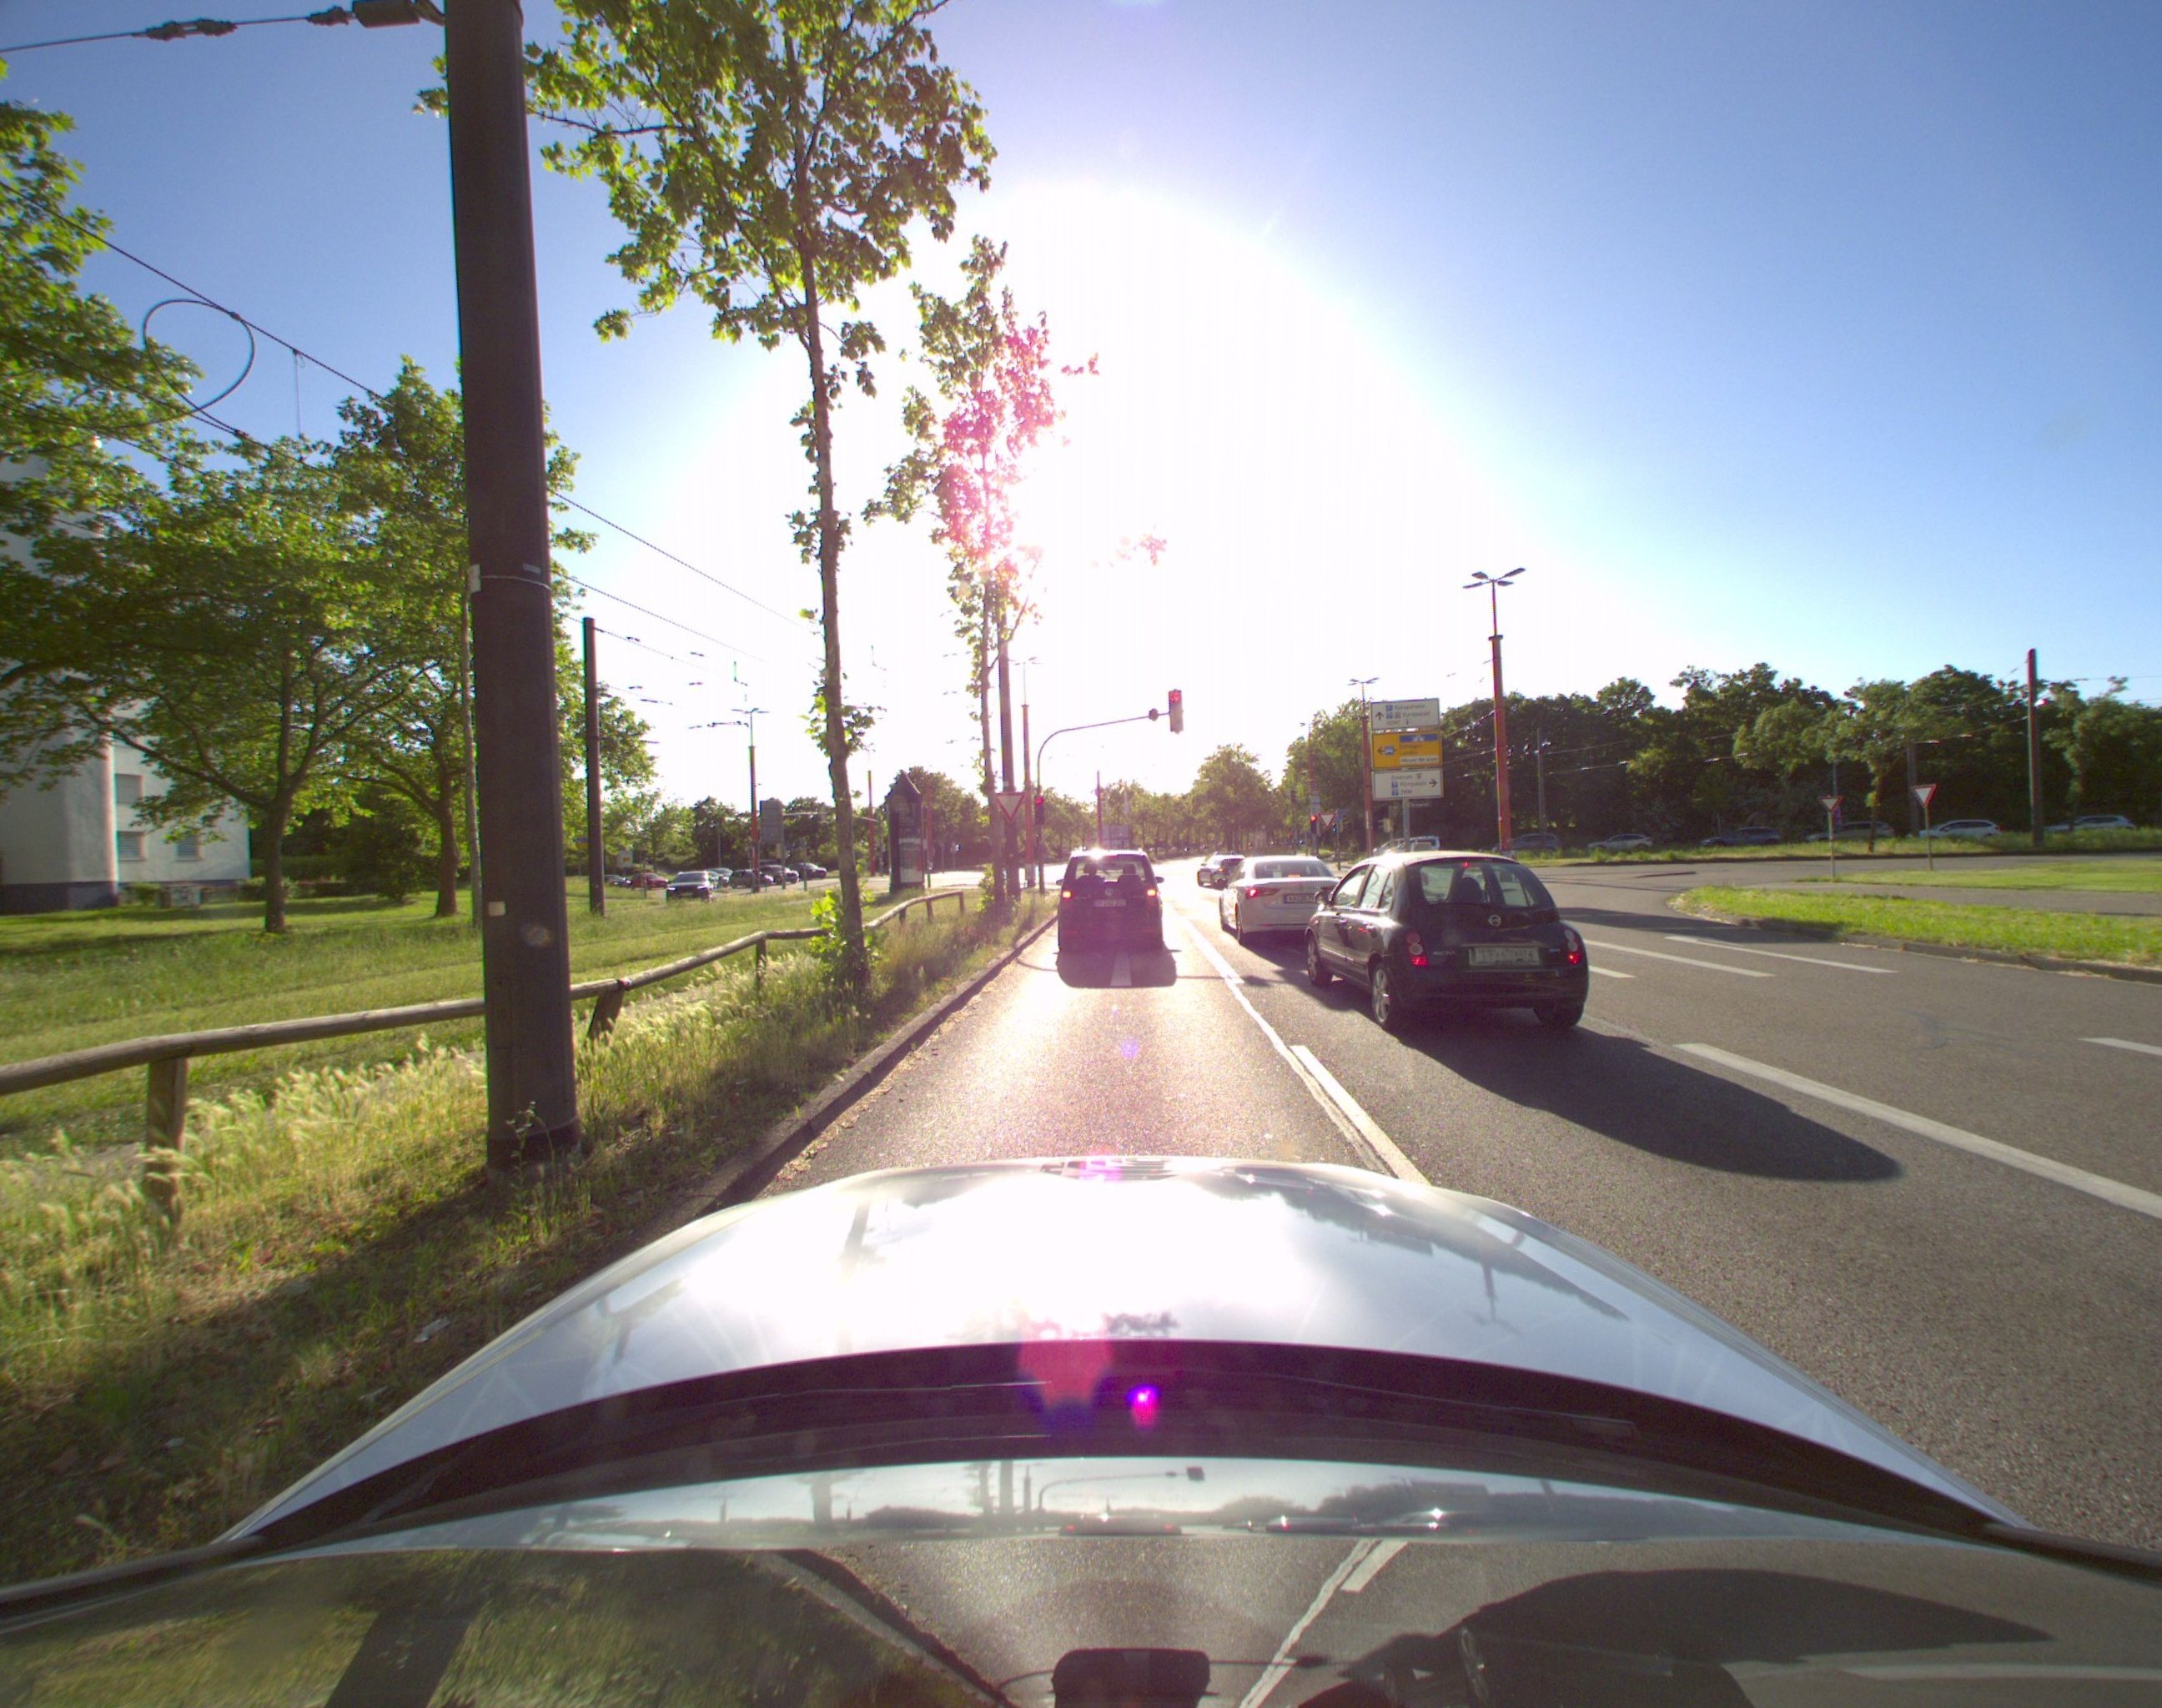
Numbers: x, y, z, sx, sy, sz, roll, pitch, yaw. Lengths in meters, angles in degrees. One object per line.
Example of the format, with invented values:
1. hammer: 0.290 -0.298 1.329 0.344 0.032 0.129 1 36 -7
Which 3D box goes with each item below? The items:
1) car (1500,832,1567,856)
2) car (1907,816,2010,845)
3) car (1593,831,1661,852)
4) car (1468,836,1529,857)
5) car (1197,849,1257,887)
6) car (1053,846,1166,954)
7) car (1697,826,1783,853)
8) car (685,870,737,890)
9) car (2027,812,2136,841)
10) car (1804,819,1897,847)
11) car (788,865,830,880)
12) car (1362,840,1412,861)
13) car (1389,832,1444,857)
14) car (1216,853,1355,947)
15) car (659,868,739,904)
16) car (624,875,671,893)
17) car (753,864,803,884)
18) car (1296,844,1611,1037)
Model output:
1. car: 32.671 -0.677 58.850 4.139 1.644 1.770 -1 -1 29
2. car: 51.860 -1.349 48.244 3.782 1.523 1.706 -2 0 31
3. car: 39.243 -0.856 58.649 3.926 1.441 1.697 -1 -1 28
4. car: 32.219 -0.557 62.881 4.082 1.511 1.834 -1 -1 28
5. car: 6.764 0.627 38.082 1.794 1.656 4.108 -2 0 -4
6. car: 0.507 0.711 14.581 1.694 1.621 3.898 -2 0 2
7. car: 42.957 -0.942 53.237 4.080 1.598 1.840 -2 0 29
8. car: -31.719 2.235 69.751 4.135 1.612 1.880 -2 0 27
9. car: 58.616 -1.579 47.802 3.699 1.473 1.611 -2 0 30
10. car: 50.301 -1.345 53.352 4.080 1.644 1.864 -2 0 31
11. car: -25.980 1.799 77.731 3.948 1.330 1.709 -2 0 33
12. car: 25.055 -0.281 66.742 3.607 1.655 1.690 -1 -1 28
13. car: 25.870 -0.705 62.745 3.797 1.890 1.774 -1 -1 26
14. car: 3.535 0.725 14.815 1.713 1.438 4.202 -1 0 4
15. car: -18.362 1.495 39.325 1.758 1.512 4.104 -2 0 2
16. car: -38.914 2.660 73.081 3.949 1.513 1.743 -2 0 28
17. car: -26.092 1.724 70.158 3.948 1.644 2.013 -2 0 33
18. car: 3.401 0.684 8.209 1.647 1.500 3.617 -1 0 3
